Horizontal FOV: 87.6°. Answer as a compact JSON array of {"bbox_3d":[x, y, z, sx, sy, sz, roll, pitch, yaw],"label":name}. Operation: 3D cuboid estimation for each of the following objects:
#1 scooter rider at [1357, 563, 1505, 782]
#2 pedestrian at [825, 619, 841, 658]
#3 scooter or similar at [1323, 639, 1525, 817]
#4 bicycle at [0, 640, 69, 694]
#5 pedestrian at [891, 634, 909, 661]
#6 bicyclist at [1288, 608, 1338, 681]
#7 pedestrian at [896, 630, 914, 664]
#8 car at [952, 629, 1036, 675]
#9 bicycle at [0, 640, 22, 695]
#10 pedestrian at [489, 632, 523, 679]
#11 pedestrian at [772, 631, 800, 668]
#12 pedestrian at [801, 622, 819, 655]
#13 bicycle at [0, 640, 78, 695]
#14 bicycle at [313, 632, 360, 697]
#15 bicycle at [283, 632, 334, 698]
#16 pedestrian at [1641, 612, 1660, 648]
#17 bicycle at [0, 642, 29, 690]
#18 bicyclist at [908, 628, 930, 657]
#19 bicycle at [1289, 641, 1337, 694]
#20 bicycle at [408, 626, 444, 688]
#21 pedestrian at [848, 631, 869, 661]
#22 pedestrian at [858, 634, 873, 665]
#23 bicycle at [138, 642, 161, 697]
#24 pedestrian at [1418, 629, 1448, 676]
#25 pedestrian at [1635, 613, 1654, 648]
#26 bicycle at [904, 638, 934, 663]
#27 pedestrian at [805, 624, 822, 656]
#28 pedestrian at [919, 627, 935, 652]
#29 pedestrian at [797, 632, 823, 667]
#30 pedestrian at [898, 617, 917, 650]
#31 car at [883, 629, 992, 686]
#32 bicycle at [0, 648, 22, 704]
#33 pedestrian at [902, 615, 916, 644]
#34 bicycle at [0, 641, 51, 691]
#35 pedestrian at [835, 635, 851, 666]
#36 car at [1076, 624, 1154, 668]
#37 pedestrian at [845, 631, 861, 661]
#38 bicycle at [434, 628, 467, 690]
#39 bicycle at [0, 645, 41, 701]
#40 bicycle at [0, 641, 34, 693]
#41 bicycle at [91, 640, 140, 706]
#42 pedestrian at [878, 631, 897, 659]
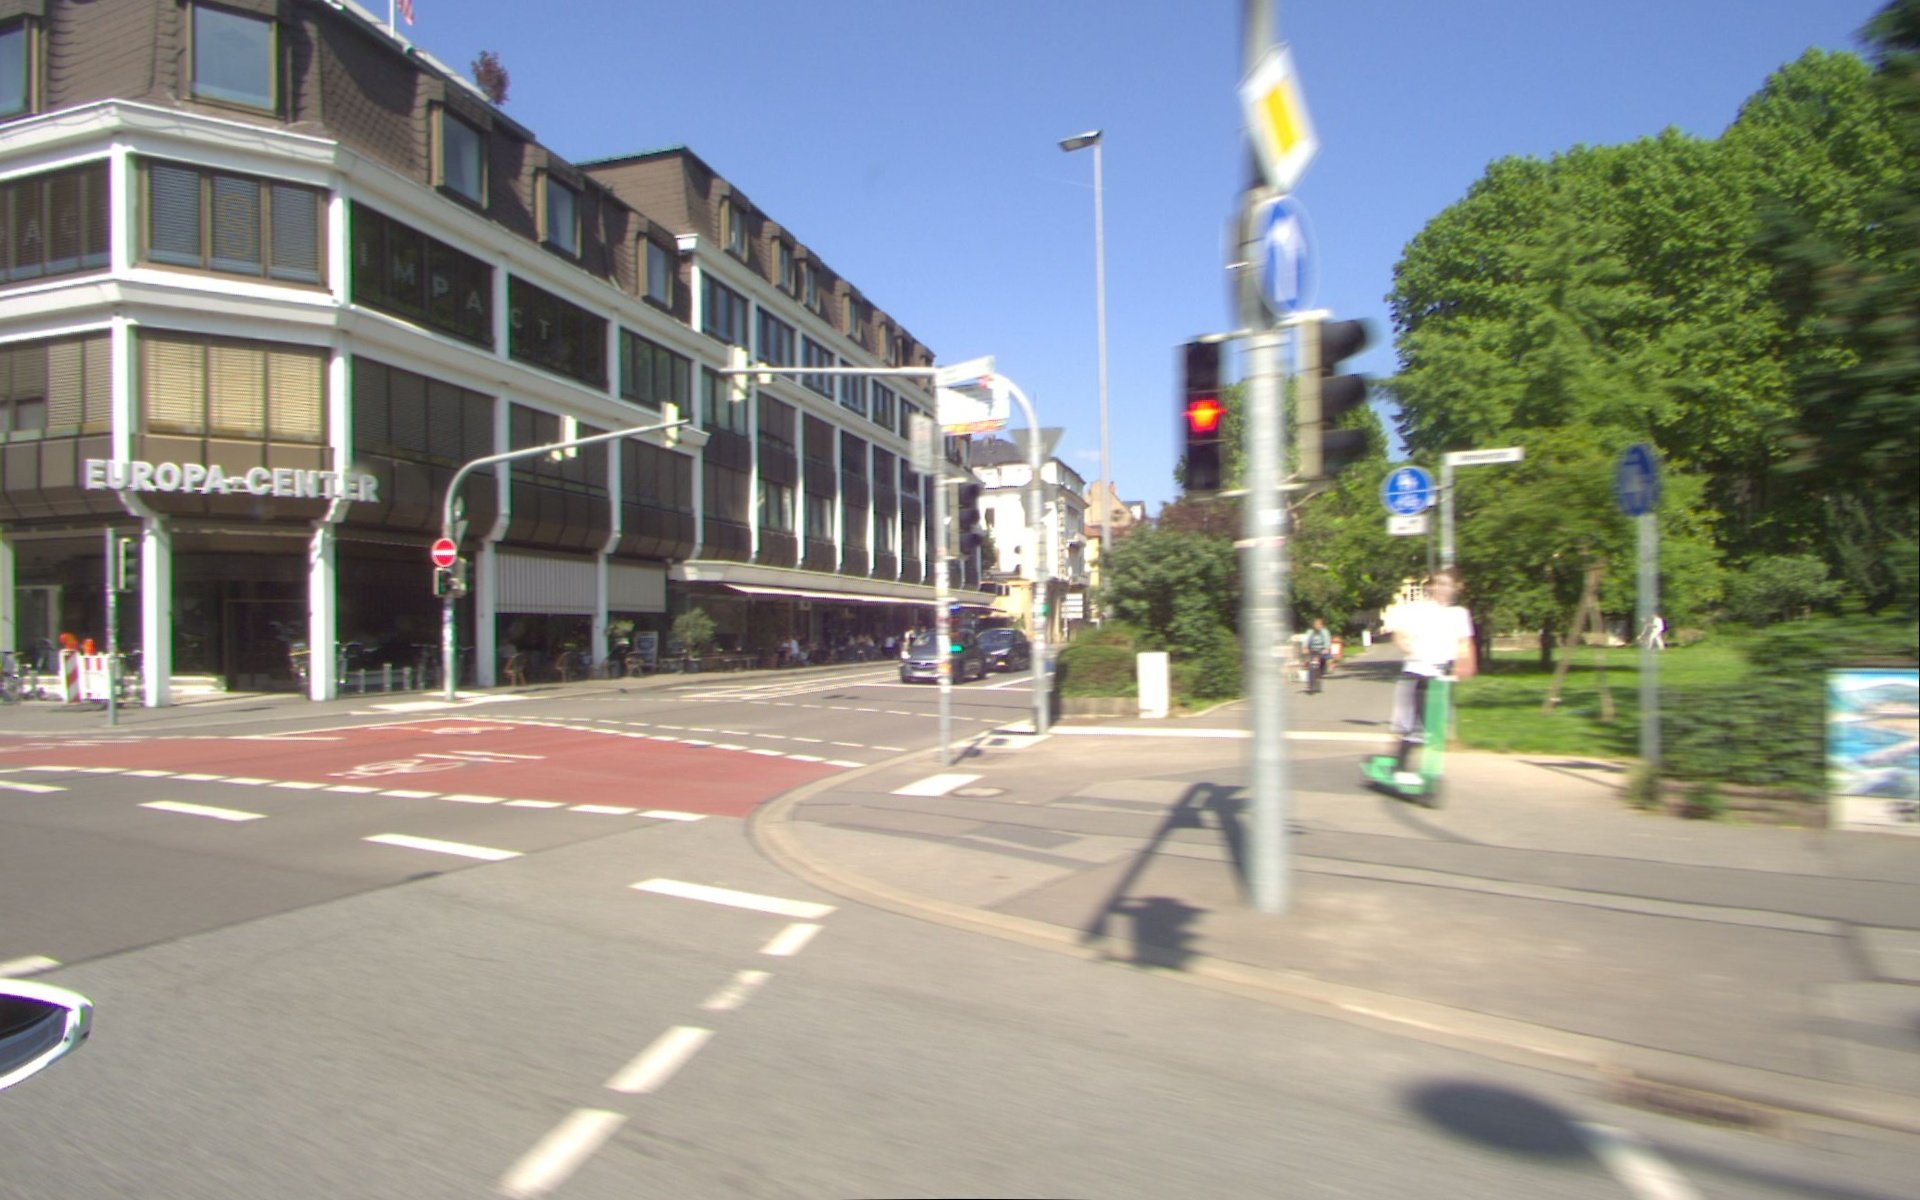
[{"bbox_3d":[3.842,0.578,8.224,0.808,1.693,0.709,-2,-1,-3],"label":"scooter rider"},{"bbox_3d":[-5.808,1.776,45.866,0.576,1.780,0.485,-1,-1,17],"label":"pedestrian"},{"bbox_3d":[3.836,1.002,8.458,0.805,1.315,1.697,-2,-1,-4],"label":"scooter or similar"},{"bbox_3d":[-21.061,1.493,22.390,0.273,1.135,1.717,0,0,24],"label":"bicycle"},{"bbox_3d":[-3.144,2.496,52.490,0.744,1.411,0.716,-1,-1,17],"label":"pedestrian"},{"bbox_3d":[7.882,0.990,22.354,0.855,1.595,0.939,-2,-1,29],"label":"bicyclist"},{"bbox_3d":[-2.709,2.284,49.125,0.605,1.633,0.872,-1,-1,17],"label":"pedestrian"},{"bbox_3d":[1.217,1.696,33.794,1.826,1.381,4.092,0,-1,17],"label":"car"},{"bbox_3d":[-21.991,1.520,22.365,0.273,1.222,1.546,0,-1,24],"label":"bicycle"},{"bbox_3d":[-13.214,1.602,29.182,0.815,1.352,0.970,0,-1,-19],"label":"pedestrian"},{"bbox_3d":[-6.853,1.946,39.469,0.744,1.411,0.928,-1,-1,17],"label":"pedestrian"},{"bbox_3d":[-6.567,1.677,43.810,0.563,1.411,0.568,-1,-1,17],"label":"pedestrian"},{"bbox_3d":[-20.703,1.498,22.233,0.273,1.135,1.717,0,0,24],"label":"bicycle"},{"bbox_3d":[-13.822,1.393,22.228,0.522,1.334,1.854,0,0,-21],"label":"bicycle"},{"bbox_3d":[-14.282,1.403,21.982,0.522,1.334,1.961,0,0,-21],"label":"bicycle"},{"bbox_3d":[33.466,1.468,48.533,0.678,1.705,0.660,-1,-1,28],"label":"pedestrian"},{"bbox_3d":[-22.994,1.564,23.386,0.272,1.111,2.244,0,-1,4],"label":"bicycle"},{"bbox_3d":[-1.940,2.021,47.489,0.768,1.325,0.942,-2,-1,16],"label":"bicyclist"},{"bbox_3d":[7.921,1.494,22.425,0.772,1.134,1.672,-2,-3,28],"label":"bicycle"},{"bbox_3d":[-13.243,1.386,24.862,0.522,1.441,1.961,0,0,-21],"label":"bicycle"},{"bbox_3d":[-4.712,2.123,46.374,0.744,1.411,0.716,-1,-1,17],"label":"pedestrian"},{"bbox_3d":[-4.442,2.317,46.928,0.534,1.411,0.554,-1,-1,17],"label":"pedestrian"},{"bbox_3d":[-16.971,1.440,20.975,0.305,1.079,1.460,-1,0,-37],"label":"bicycle"},{"bbox_3d":[13.146,1.468,27.836,0.705,1.286,0.451,-1,-1,29],"label":"pedestrian"},{"bbox_3d":[33.673,1.487,49.287,0.678,1.705,0.660,-1,-1,28],"label":"pedestrian"},{"bbox_3d":[-1.934,2.383,47.490,0.751,1.135,2.120,-2,-1,15],"label":"bicycle"},{"bbox_3d":[-6.459,1.775,44.222,0.563,1.411,0.568,-1,-1,17],"label":"pedestrian"},{"bbox_3d":[-1.877,2.266,57.230,0.744,1.411,0.716,-1,-1,17],"label":"pedestrian"},{"bbox_3d":[-6.172,2.048,41.310,0.744,1.411,0.928,-1,-1,17],"label":"pedestrian"},{"bbox_3d":[-2.820,1.811,53.760,0.744,1.751,0.797,-1,-1,17],"label":"pedestrian"},{"bbox_3d":[-0.542,1.542,27.938,1.826,1.381,4.091,0,-1,17],"label":"car"},{"bbox_3d":[-20.318,1.563,20.920,2.207,1.135,0.277,-1,0,26],"label":"bicycle"},{"bbox_3d":[-2.913,1.685,57.544,0.610,1.667,0.716,-1,-1,17],"label":"pedestrian"},{"bbox_3d":[-22.404,1.533,23.235,0.272,1.135,2.243,0,-1,10],"label":"bicycle"},{"bbox_3d":[-5.430,2.339,46.482,0.563,1.411,0.568,-1,-1,17],"label":"pedestrian"},{"bbox_3d":[6.139,1.769,39.119,2.029,1.603,4.737,0,-2,21],"label":"car"},{"bbox_3d":[-5.055,2.156,47.215,0.563,1.411,0.568,-1,-1,17],"label":"pedestrian"},{"bbox_3d":[-12.571,1.430,24.740,0.522,1.441,1.961,0,0,-21],"label":"bicycle"},{"bbox_3d":[-20.251,1.529,21.274,2.207,1.135,0.277,-1,0,26],"label":"bicycle"},{"bbox_3d":[-21.647,1.511,22.250,0.273,1.135,1.571,0,0,24],"label":"bicycle"},{"bbox_3d":[-17.717,1.507,21.033,0.371,1.081,1.462,-1,10,-26],"label":"bicycle"},{"bbox_3d":[-3.618,2.231,49.786,0.744,1.411,0.716,-1,-1,17],"label":"pedestrian"}]
